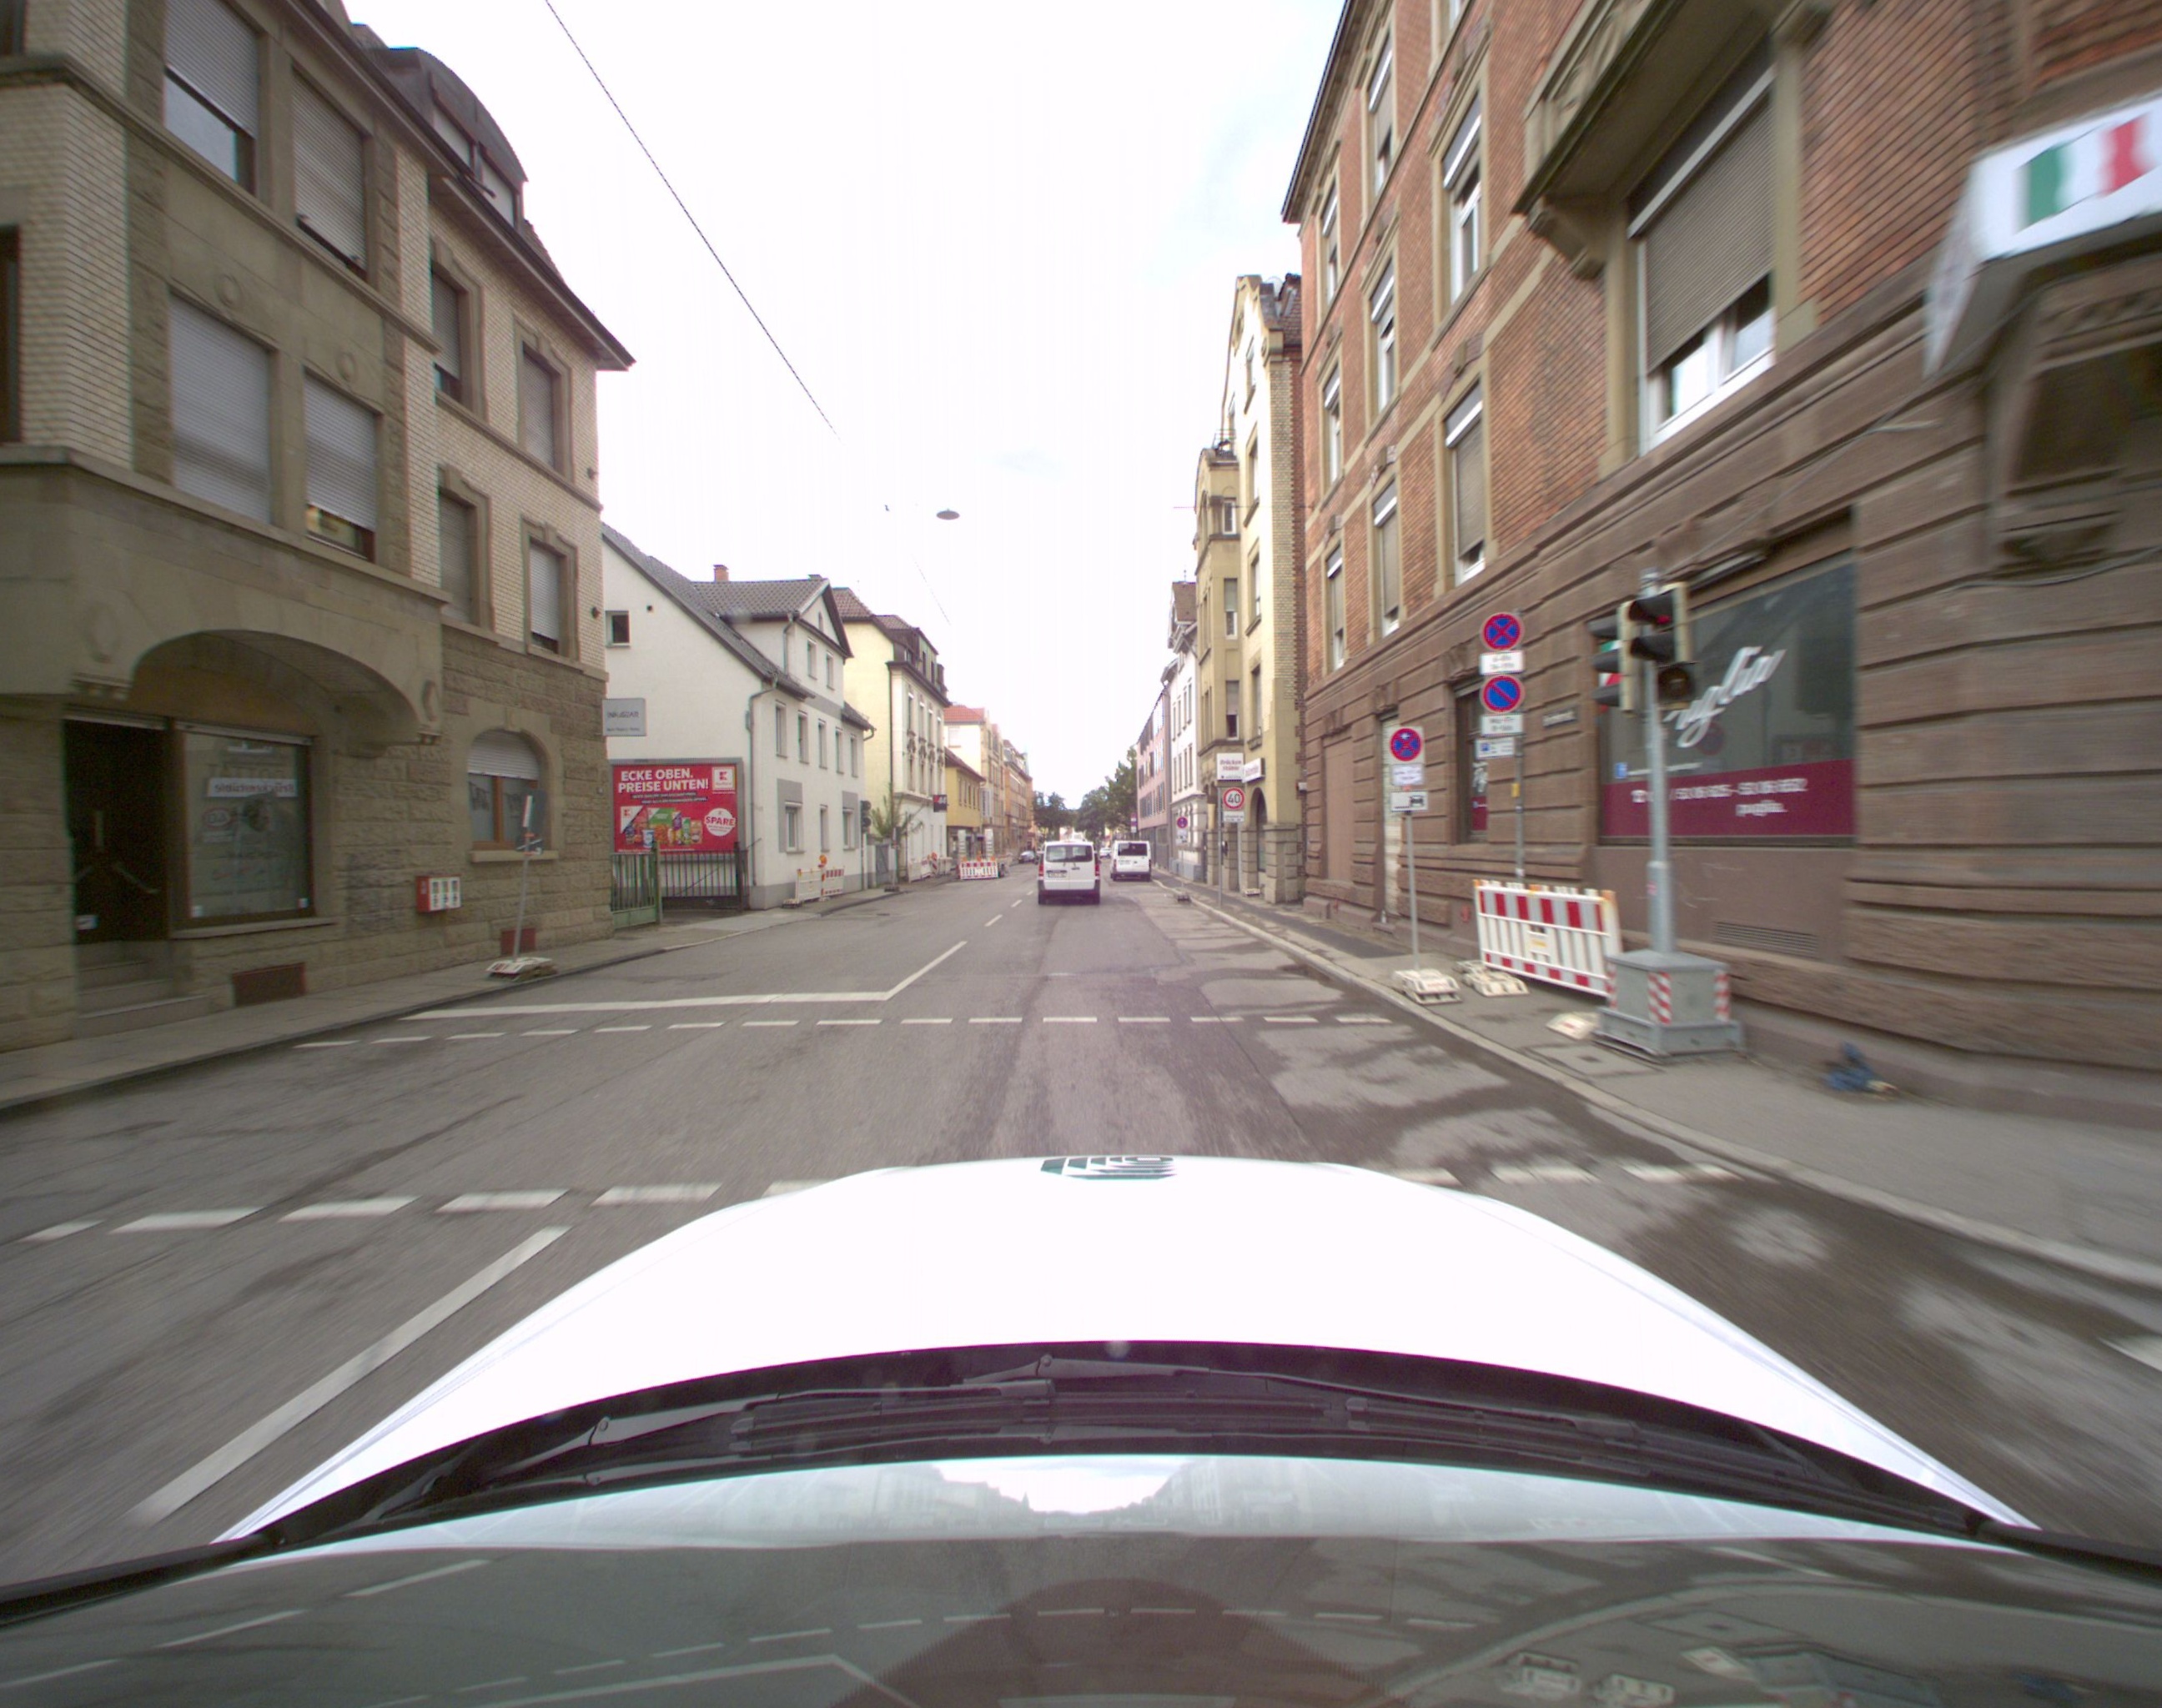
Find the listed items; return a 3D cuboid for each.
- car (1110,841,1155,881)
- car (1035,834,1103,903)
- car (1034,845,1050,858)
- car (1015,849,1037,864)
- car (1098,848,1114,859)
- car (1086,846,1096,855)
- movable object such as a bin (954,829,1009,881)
[{"bbox_3d":[2.659,0.318,42.930,2.121,2.005,4.926,0,0,0],"label":"car"},{"bbox_3d":[-0.475,0.438,25.910,1.888,1.929,4.639,-2,-1,-4],"label":"car"},{"bbox_3d":[-5.412,-0.297,113.828,1.987,1.741,3.999,1,0,0],"label":"car"},{"bbox_3d":[-5.970,0.249,88.838,1.987,1.442,3.999,-3,0,0],"label":"car"},{"bbox_3d":[3.448,-0.100,113.605,1.987,1.485,3.999,2,0,0],"label":"car"},{"bbox_3d":[2.288,-0.720,184.948,1.986,2.014,4.002,-2,-1,2],"label":"car"},{"bbox_3d":[-5.812,0.020,48.292,2.529,2.825,4.538,-3,0,0],"label":"movable object such as a bin"}]
